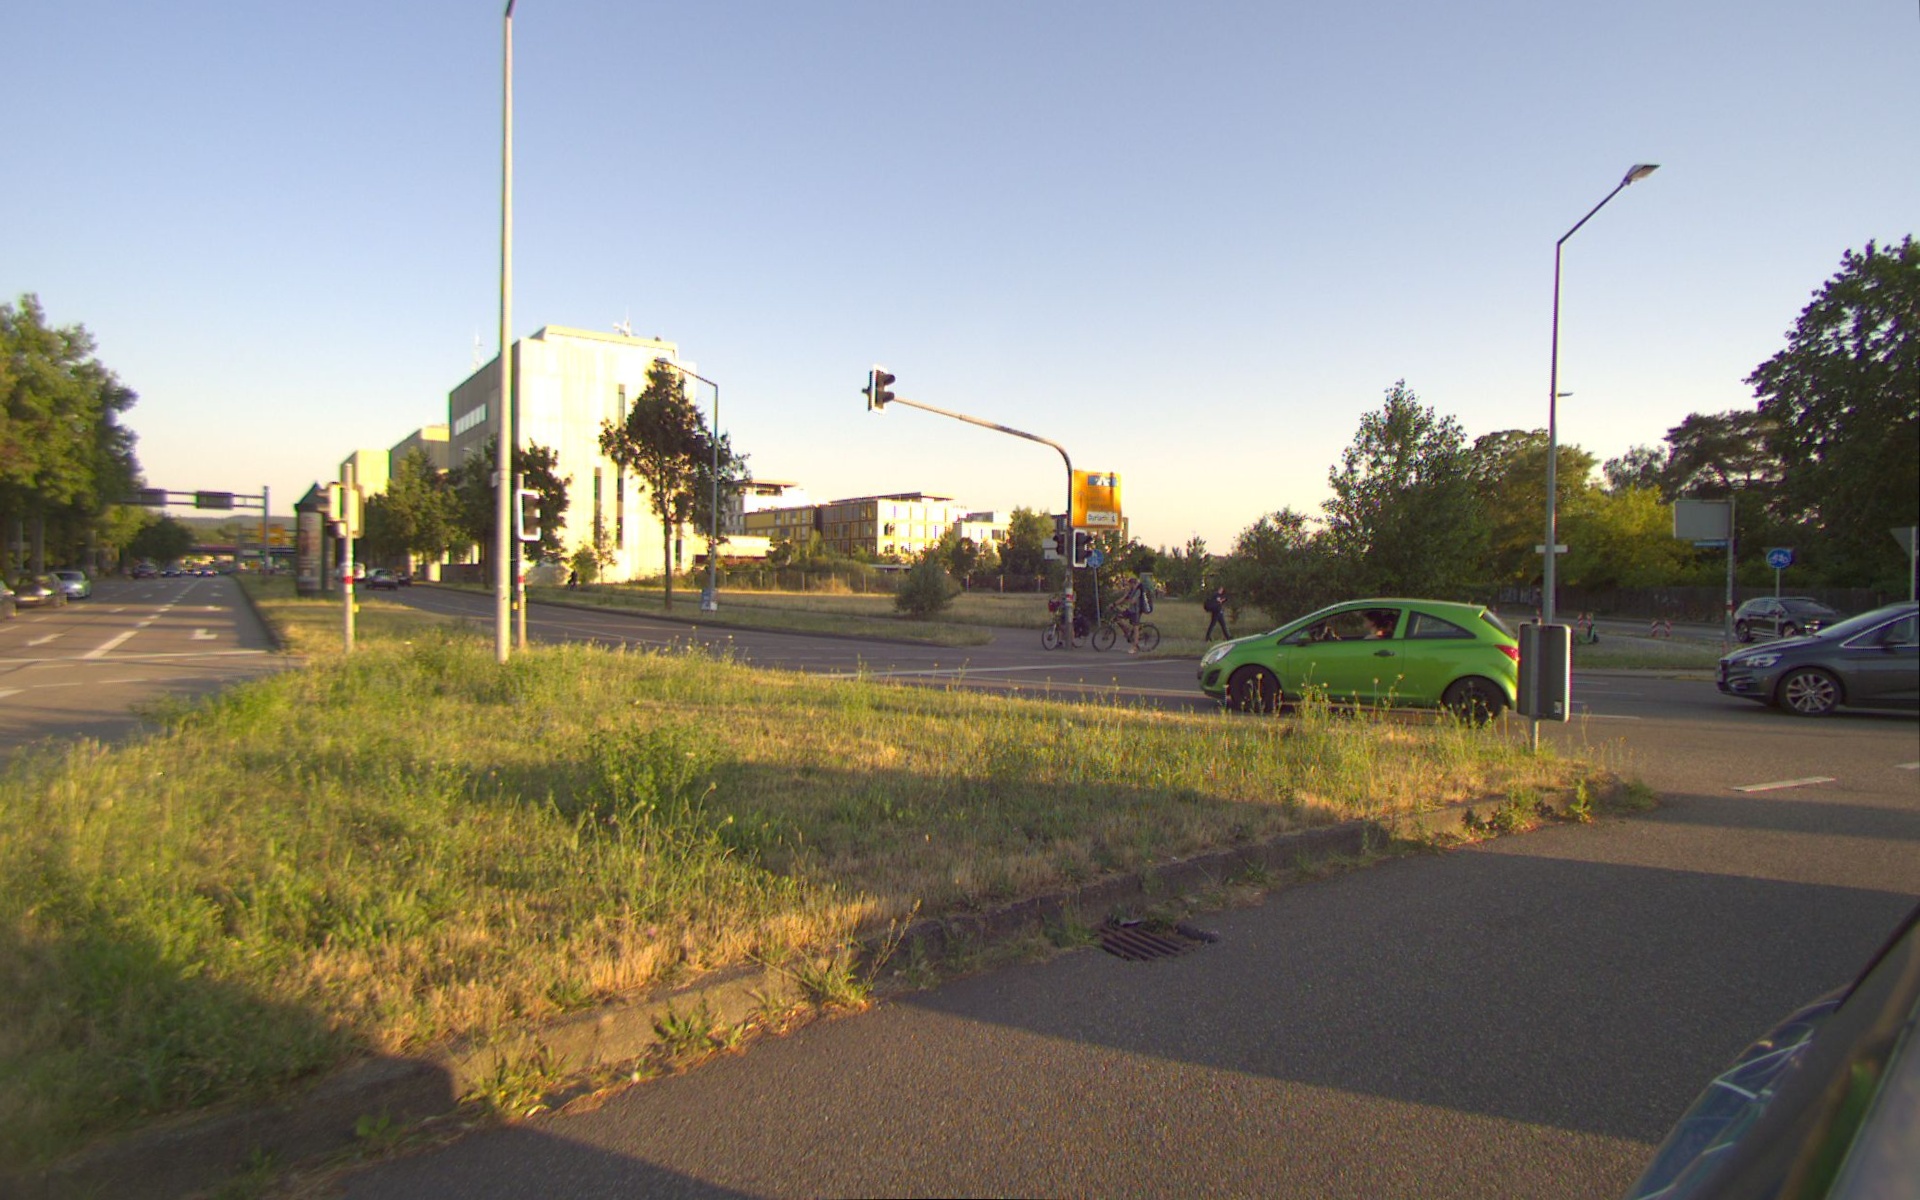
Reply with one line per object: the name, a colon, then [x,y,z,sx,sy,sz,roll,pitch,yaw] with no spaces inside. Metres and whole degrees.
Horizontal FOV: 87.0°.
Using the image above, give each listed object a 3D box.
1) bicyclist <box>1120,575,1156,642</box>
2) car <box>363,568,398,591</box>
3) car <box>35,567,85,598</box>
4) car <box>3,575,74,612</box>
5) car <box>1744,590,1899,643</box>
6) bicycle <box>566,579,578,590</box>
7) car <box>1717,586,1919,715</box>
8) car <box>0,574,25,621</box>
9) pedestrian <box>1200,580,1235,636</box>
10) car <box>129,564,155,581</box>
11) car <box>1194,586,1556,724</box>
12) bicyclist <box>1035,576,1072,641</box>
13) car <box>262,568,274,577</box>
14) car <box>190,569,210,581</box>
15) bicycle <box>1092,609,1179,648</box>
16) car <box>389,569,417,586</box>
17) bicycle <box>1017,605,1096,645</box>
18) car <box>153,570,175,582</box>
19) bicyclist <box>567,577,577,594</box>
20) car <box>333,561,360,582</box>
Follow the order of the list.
bicyclist: [4.613,0.216,26.264,0.674,1.711,0.727,1,1,-13]
car: [-43.375,-1.561,75.674,1.962,1.649,4.001,0,1,-35]
car: [-46.280,-0.915,52.054,1.836,1.472,3.964,-2,2,-42]
car: [-38.974,-0.306,42.895,1.833,1.472,4.161,0,1,-37]
car: [28.896,0.488,34.154,1.967,1.617,4.303,1,1,9]
bicycle: [-29.842,-1.210,77.878,0.487,0.837,1.515,0,1,-35]
car: [12.821,0.645,13.339,4.291,1.597,1.716,1,1,29]
car: [-31.920,-0.121,32.759,1.832,1.407,4.163,2,0,-35]
pedestrian: [7.546,0.224,29.652,0.978,1.610,0.922,1,1,16]
car: [-82.048,-2.747,101.541,1.880,1.603,4.179,0,1,-37]
car: [5.115,0.575,12.706,3.963,1.438,1.673,1,1,28]
bicyclist: [2.527,0.215,27.329,0.675,1.711,0.726,0,1,-29]
car: [-147.731,-5.861,216.037,1.962,1.805,4.001,0,1,-35]
car: [-97.700,-3.227,130.110,1.963,1.524,4.771,0,1,-36]
bicycle: [4.540,0.739,26.243,2.100,0.975,0.711,1,1,-15]
car: [-49.545,-1.980,90.013,1.960,1.445,4.202,0,1,-31]
bicycle: [2.613,0.667,27.347,2.065,0.975,0.711,-2,2,-27]
car: [-100.869,-3.048,128.222,1.965,1.524,4.615,-1,1,-40]
bicyclist: [-29.850,-1.144,77.865,0.606,1.272,0.735,0,1,-34]
car: [-60.322,-2.781,99.508,2.029,1.971,4.962,0,1,-35]
